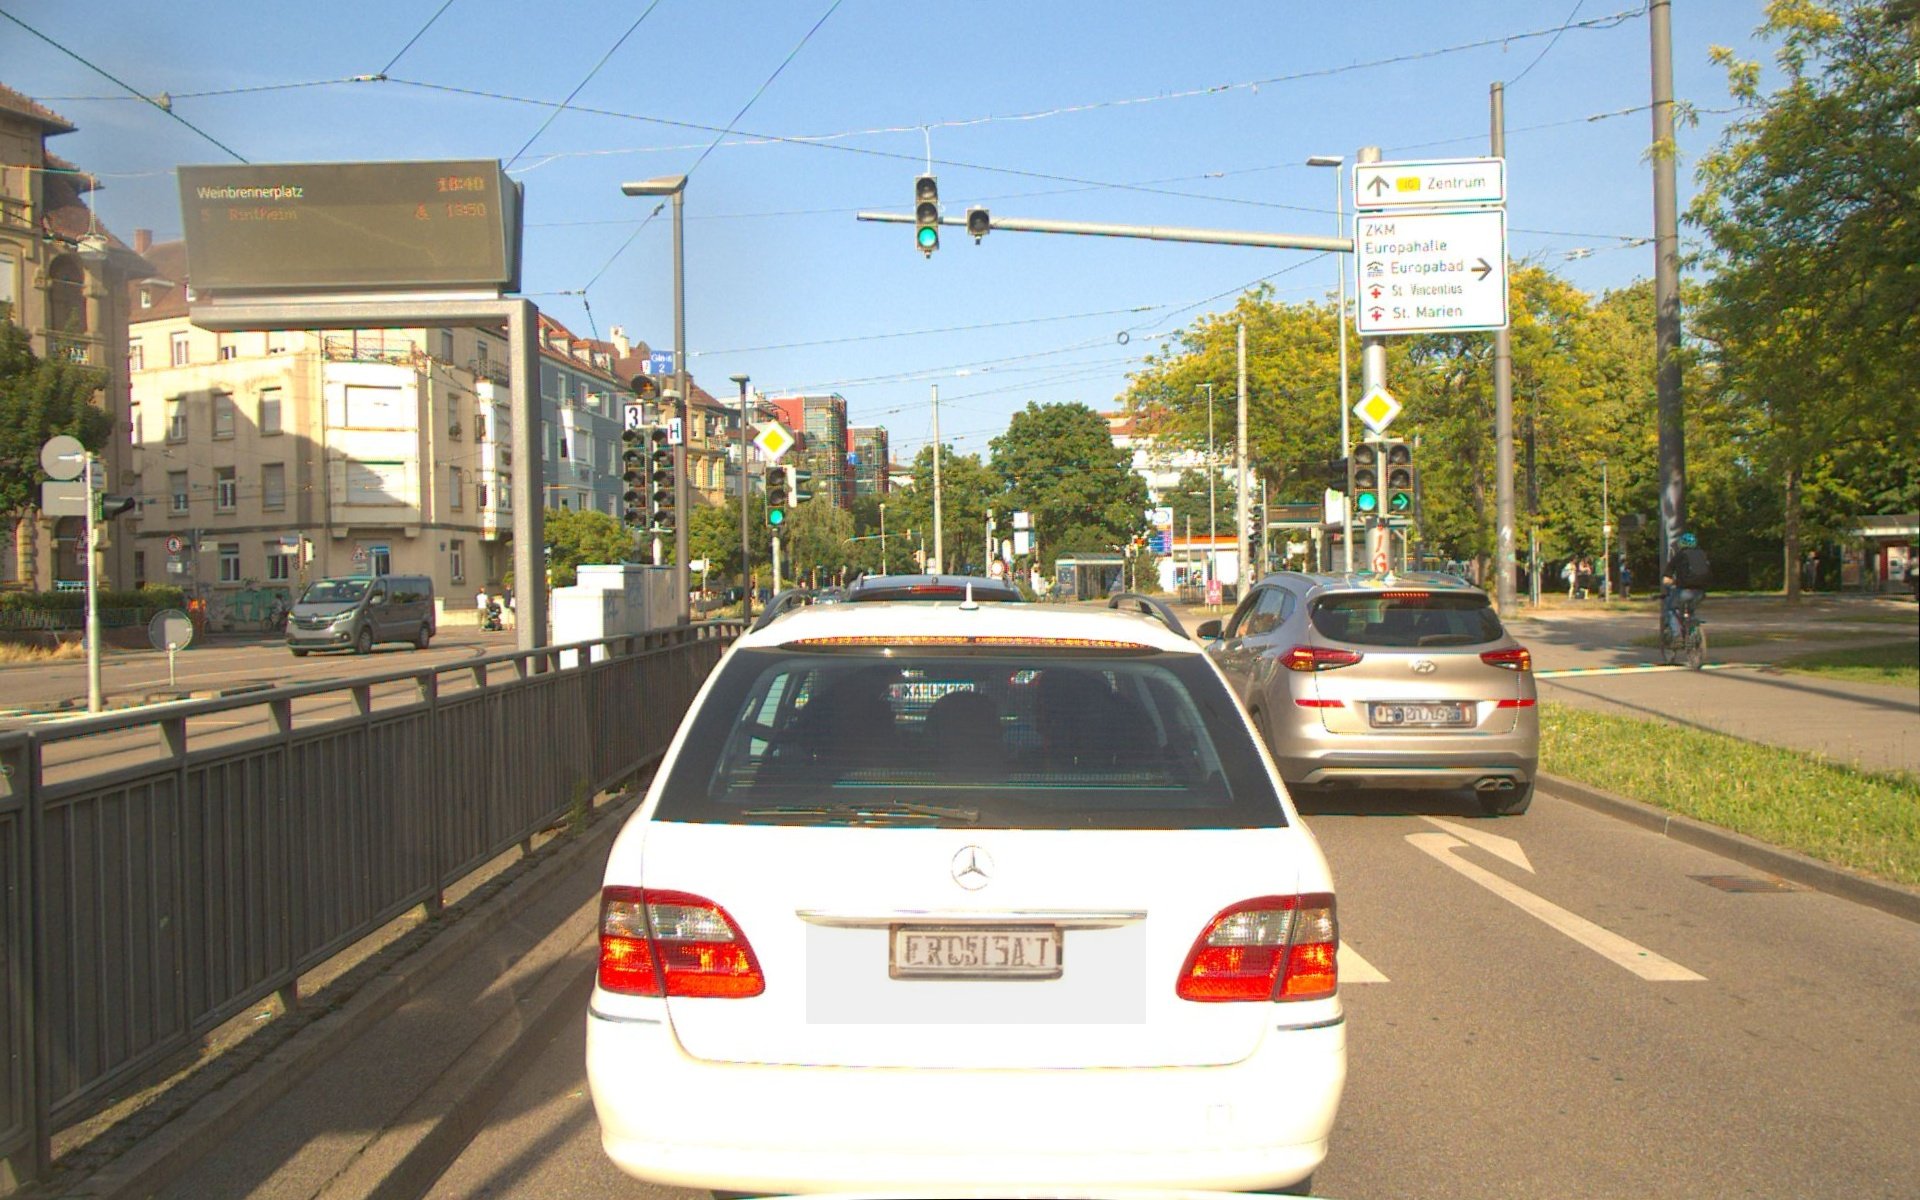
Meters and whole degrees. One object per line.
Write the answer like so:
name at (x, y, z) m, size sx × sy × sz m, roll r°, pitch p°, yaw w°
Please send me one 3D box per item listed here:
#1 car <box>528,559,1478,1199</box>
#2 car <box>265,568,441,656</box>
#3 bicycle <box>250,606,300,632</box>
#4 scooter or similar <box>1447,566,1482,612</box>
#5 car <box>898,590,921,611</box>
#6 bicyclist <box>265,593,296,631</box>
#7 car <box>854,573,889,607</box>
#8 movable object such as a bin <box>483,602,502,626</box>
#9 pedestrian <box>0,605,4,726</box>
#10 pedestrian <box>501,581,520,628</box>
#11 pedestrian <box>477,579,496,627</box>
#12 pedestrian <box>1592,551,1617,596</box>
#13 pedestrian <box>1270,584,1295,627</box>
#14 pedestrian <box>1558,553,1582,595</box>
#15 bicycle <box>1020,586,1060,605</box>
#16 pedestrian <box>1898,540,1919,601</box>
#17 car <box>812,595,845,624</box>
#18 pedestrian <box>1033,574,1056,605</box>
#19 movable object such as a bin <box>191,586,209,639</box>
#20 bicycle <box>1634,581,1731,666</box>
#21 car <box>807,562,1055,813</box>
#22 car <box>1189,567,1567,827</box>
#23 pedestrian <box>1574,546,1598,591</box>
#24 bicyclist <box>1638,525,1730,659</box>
car at (0.059, 0.675, 5.045) m, size 1.798 × 1.527 × 3.814 m, roll 0°, pitch 0°, yaw -1°
car at (-15.406, 0.265, 42.356) m, size 2.100 × 2.049 × 5.390 m, roll -1°, pitch 0°, yaw 5°
bicycle at (-29.239, 0.808, 70.611) m, size 1.949 × 1.024 × 0.743 m, roll -1°, pitch 0°, yaw 20°
scooter or similar at (13.930, -0.300, 45.665) m, size 0.345 × 1.253 × 1.131 m, roll -1°, pitch 0°, yaw -15°
car at (-4.107, 0.013, 134.610) m, size 1.731 × 1.520 × 4.744 m, roll -2°, pitch 2°, yaw -1°
bicyclist at (-28.980, 0.520, 70.539) m, size 1.018 × 1.597 × 0.662 m, roll -1°, pitch 0°, yaw 19°
car at (-6.261, -0.748, 117.853) m, size 2.132 × 2.278 × 5.253 m, roll -1°, pitch 1°, yaw 0°
movable object such as a bin at (-19.261, 0.569, 68.122) m, size 0.571 × 0.963 × 0.663 m, roll -1°, pitch 0°, yaw 0°
pedestrian at (-13.180, 0.888, 21.937) m, size 0.578 × 1.617 × 0.715 m, roll -1°, pitch 0°, yaw -5°
pedestrian at (-18.361, 0.177, 67.546) m, size 0.573 × 1.913 × 0.626 m, roll -1°, pitch 2°, yaw -3°
pedestrian at (-19.288, 0.128, 67.390) m, size 0.572 × 1.913 × 0.626 m, roll -1°, pitch 0°, yaw 0°
pedestrian at (24.515, -1.015, 62.937) m, size 0.628 × 1.694 × 0.690 m, roll -1°, pitch 0°, yaw -1°
pedestrian at (15.633, 0.280, 80.252) m, size 0.976 × 2.049 × 0.827 m, roll -1°, pitch 0°, yaw 27°
pedestrian at (23.961, -1.021, 64.950) m, size 0.628 × 1.638 × 0.690 m, roll -1°, pitch 0°, yaw -1°
bicycle at (4.285, -0.241, 88.447) m, size 1.975 × 0.963 × 0.880 m, roll -1°, pitch 0°, yaw 19°
pedestrian at (29.892, -0.919, 51.928) m, size 0.453 × 1.900 × 0.603 m, roll 1°, pitch -1°, yaw -15°
car at (-7.971, 0.549, 100.711) m, size 1.642 × 1.552 × 4.125 m, roll -1°, pitch 2°, yaw 0°
pedestrian at (4.504, -0.569, 88.362) m, size 0.985 × 1.619 × 0.866 m, roll -1°, pitch 0°, yaw 18°
movable object such as a bin at (-25.709, 0.417, 55.932) m, size 0.261 × 1.739 × 2.357 m, roll -2°, pitch 1°, yaw -31°
bicycle at (10.164, 0.308, 23.314) m, size 0.627 × 1.107 × 1.734 m, roll -4°, pitch 0°, yaw 3°
car at (-0.213, 0.556, 12.658) m, size 1.608 × 1.628 × 3.814 m, roll 0°, pitch 0°, yaw -1°
car at (2.889, 0.597, 12.287) m, size 1.798 × 1.628 × 3.814 m, roll 0°, pitch 0°, yaw -1°
pedestrian at (24.244, -1.214, 64.107) m, size 0.628 × 1.694 × 0.690 m, roll -1°, pitch 0°, yaw -1°
bicyclist at (10.091, -0.109, 23.096) m, size 0.705 × 1.776 × 1.140 m, roll -4°, pitch 0°, yaw 3°
